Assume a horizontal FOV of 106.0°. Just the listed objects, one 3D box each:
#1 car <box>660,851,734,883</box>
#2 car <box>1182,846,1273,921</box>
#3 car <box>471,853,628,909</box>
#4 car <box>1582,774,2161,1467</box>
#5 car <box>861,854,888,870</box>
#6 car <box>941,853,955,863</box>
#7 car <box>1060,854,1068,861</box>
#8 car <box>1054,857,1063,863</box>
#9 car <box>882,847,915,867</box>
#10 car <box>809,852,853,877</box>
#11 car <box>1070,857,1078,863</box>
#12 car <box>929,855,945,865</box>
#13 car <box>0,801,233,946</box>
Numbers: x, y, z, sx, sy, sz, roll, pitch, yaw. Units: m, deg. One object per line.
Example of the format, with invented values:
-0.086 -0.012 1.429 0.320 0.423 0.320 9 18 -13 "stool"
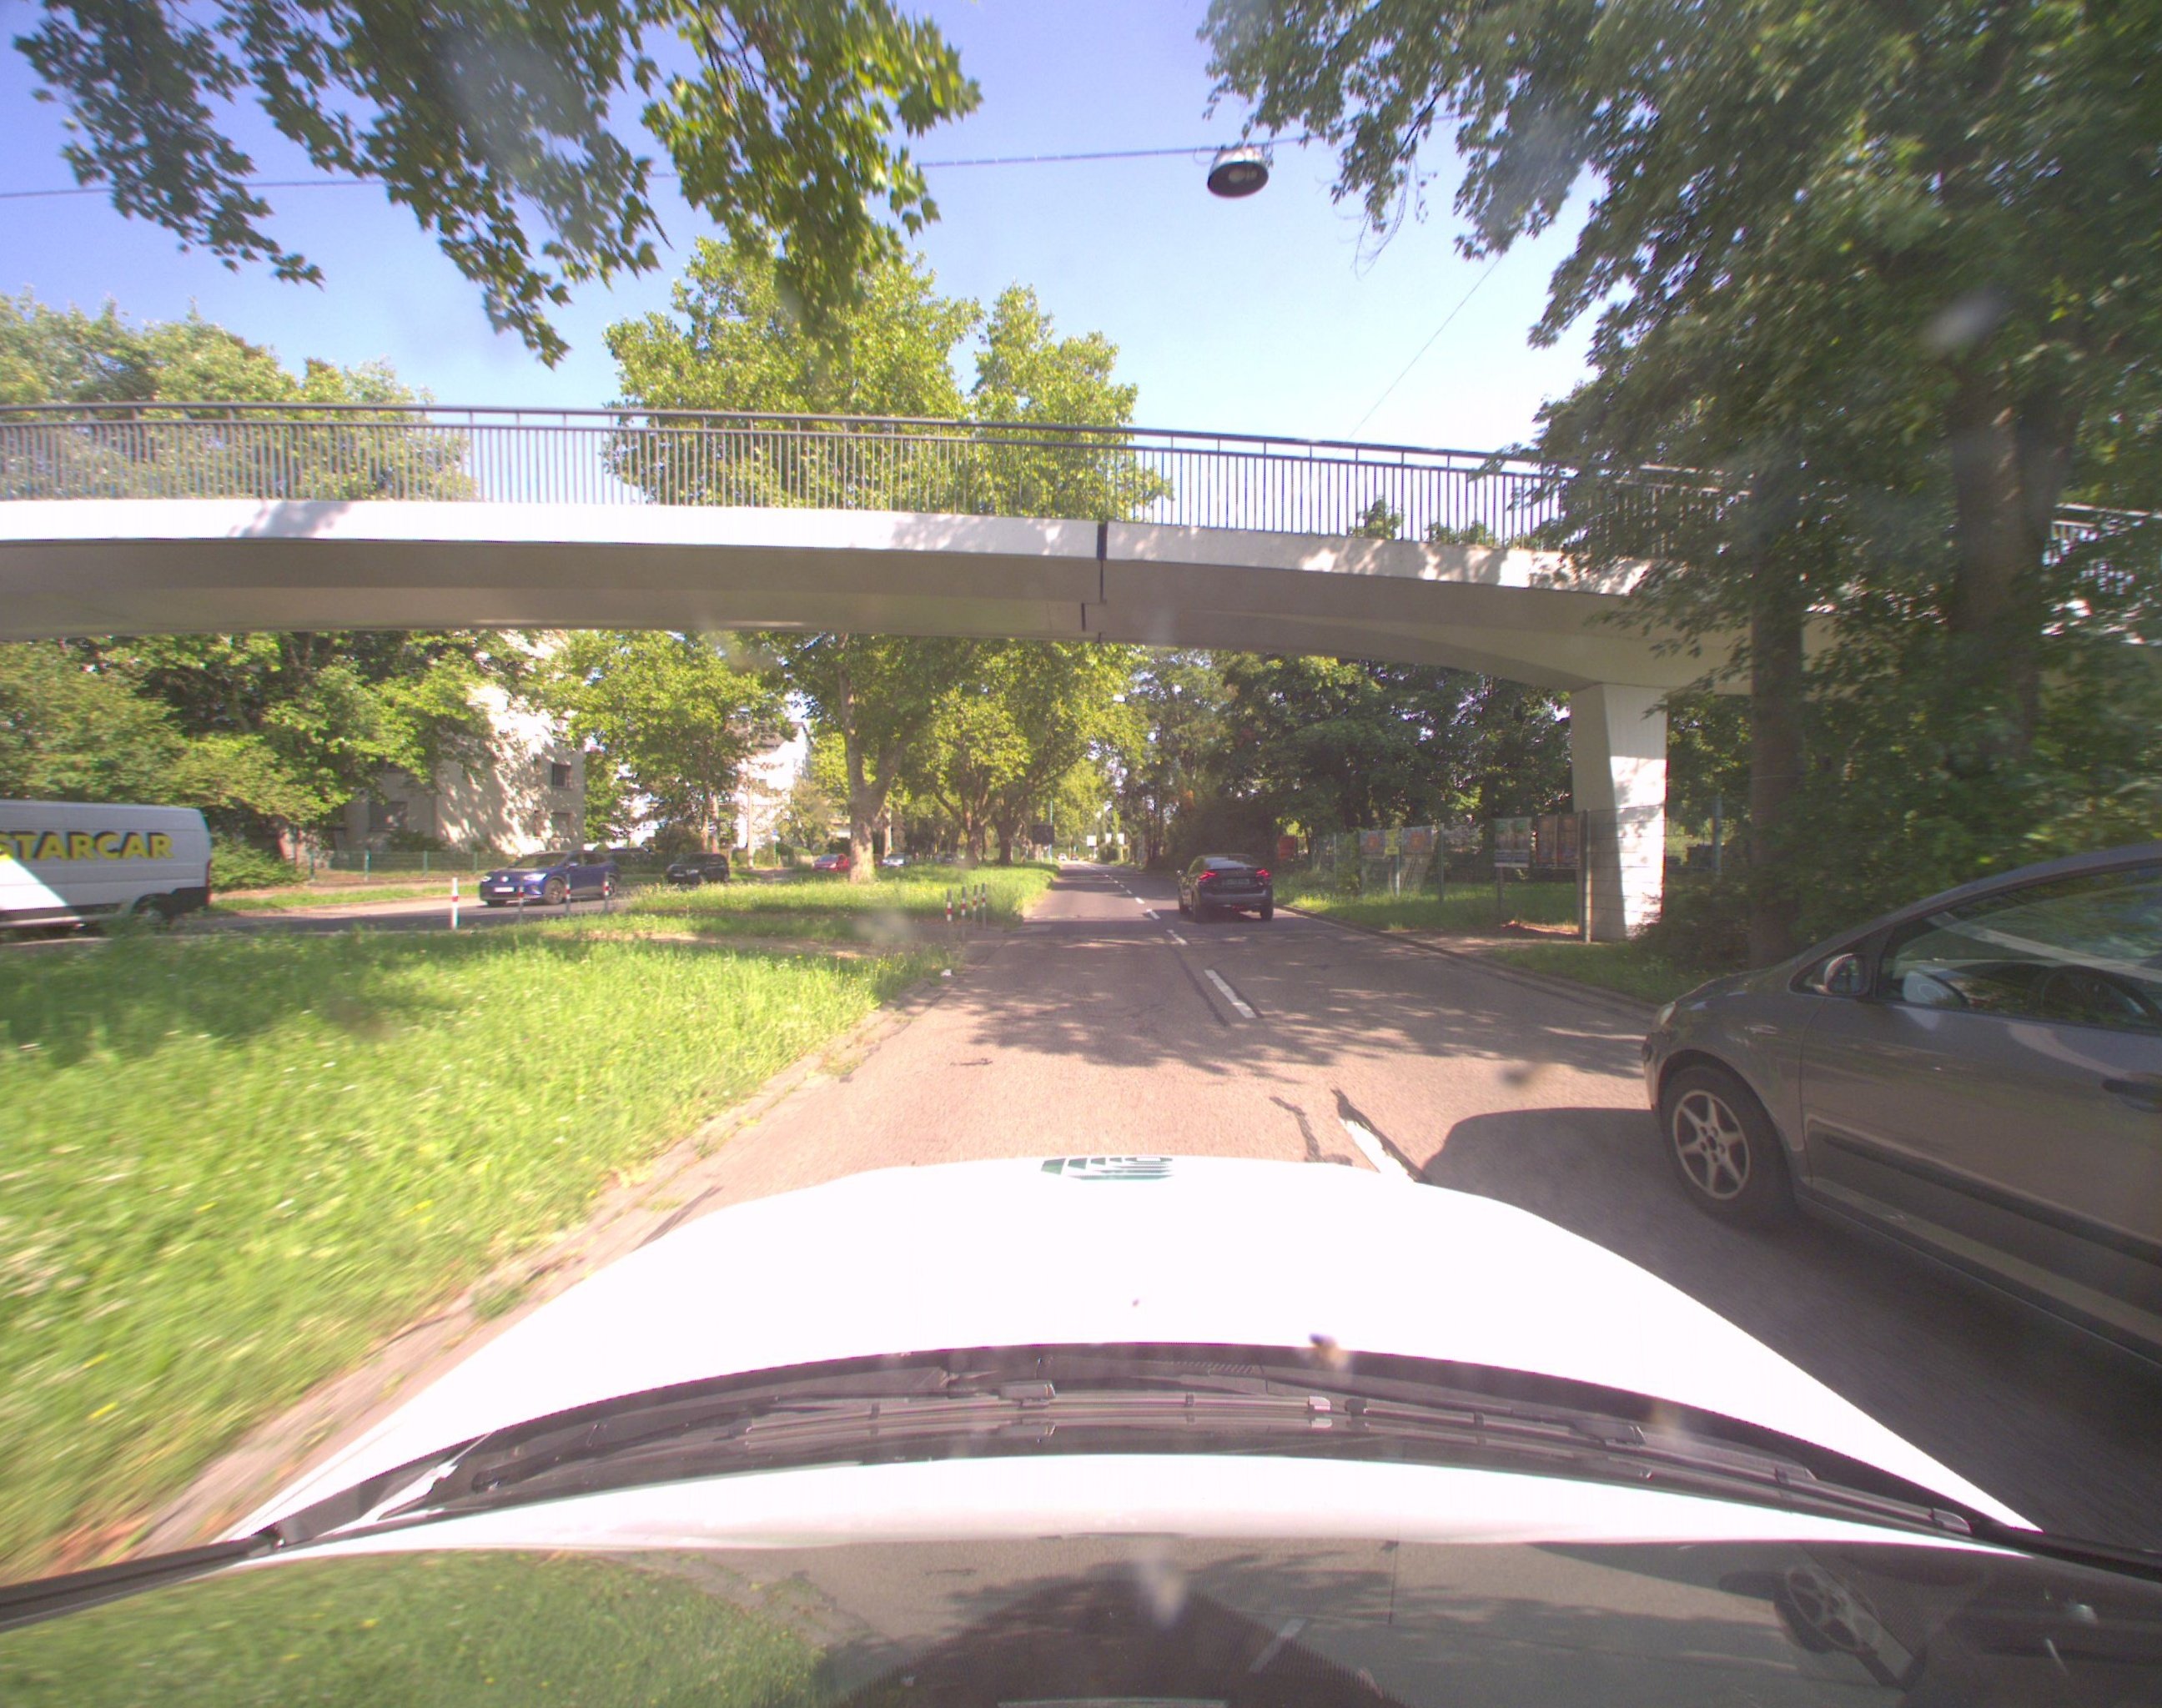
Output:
-18.754 0.611 39.970 1.515 1.533 3.868 0 0 5 "car"
3.412 0.645 19.646 1.638 1.588 4.258 -1 0 3 "car"
-15.954 0.757 24.792 1.781 1.533 4.456 0 0 1 "car"
3.261 0.606 2.095 1.639 1.556 3.900 0 0 1 "car"
-19.277 0.767 76.120 1.534 1.451 4.063 0 0 0 "car"
-21.086 0.673 128.976 1.695 1.568 3.997 0 0 -2 "car"
-3.792 0.714 178.750 1.683 1.462 3.998 0 0 -1 "car"
-5.277 1.385 191.530 1.681 1.462 3.851 0 0 2 "car"
-16.149 0.225 72.283 1.796 1.719 4.718 0 0 0 "car"
-16.123 0.672 52.680 1.686 1.533 4.067 0 0 -2 "car"
-1.595 1.422 189.616 1.793 1.401 3.996 0 0 -3 "car"
-21.281 0.898 120.394 1.695 1.508 4.537 0 0 -2 "car"
-19.085 0.281 14.063 2.201 2.430 6.264 3 0 0 "car"
